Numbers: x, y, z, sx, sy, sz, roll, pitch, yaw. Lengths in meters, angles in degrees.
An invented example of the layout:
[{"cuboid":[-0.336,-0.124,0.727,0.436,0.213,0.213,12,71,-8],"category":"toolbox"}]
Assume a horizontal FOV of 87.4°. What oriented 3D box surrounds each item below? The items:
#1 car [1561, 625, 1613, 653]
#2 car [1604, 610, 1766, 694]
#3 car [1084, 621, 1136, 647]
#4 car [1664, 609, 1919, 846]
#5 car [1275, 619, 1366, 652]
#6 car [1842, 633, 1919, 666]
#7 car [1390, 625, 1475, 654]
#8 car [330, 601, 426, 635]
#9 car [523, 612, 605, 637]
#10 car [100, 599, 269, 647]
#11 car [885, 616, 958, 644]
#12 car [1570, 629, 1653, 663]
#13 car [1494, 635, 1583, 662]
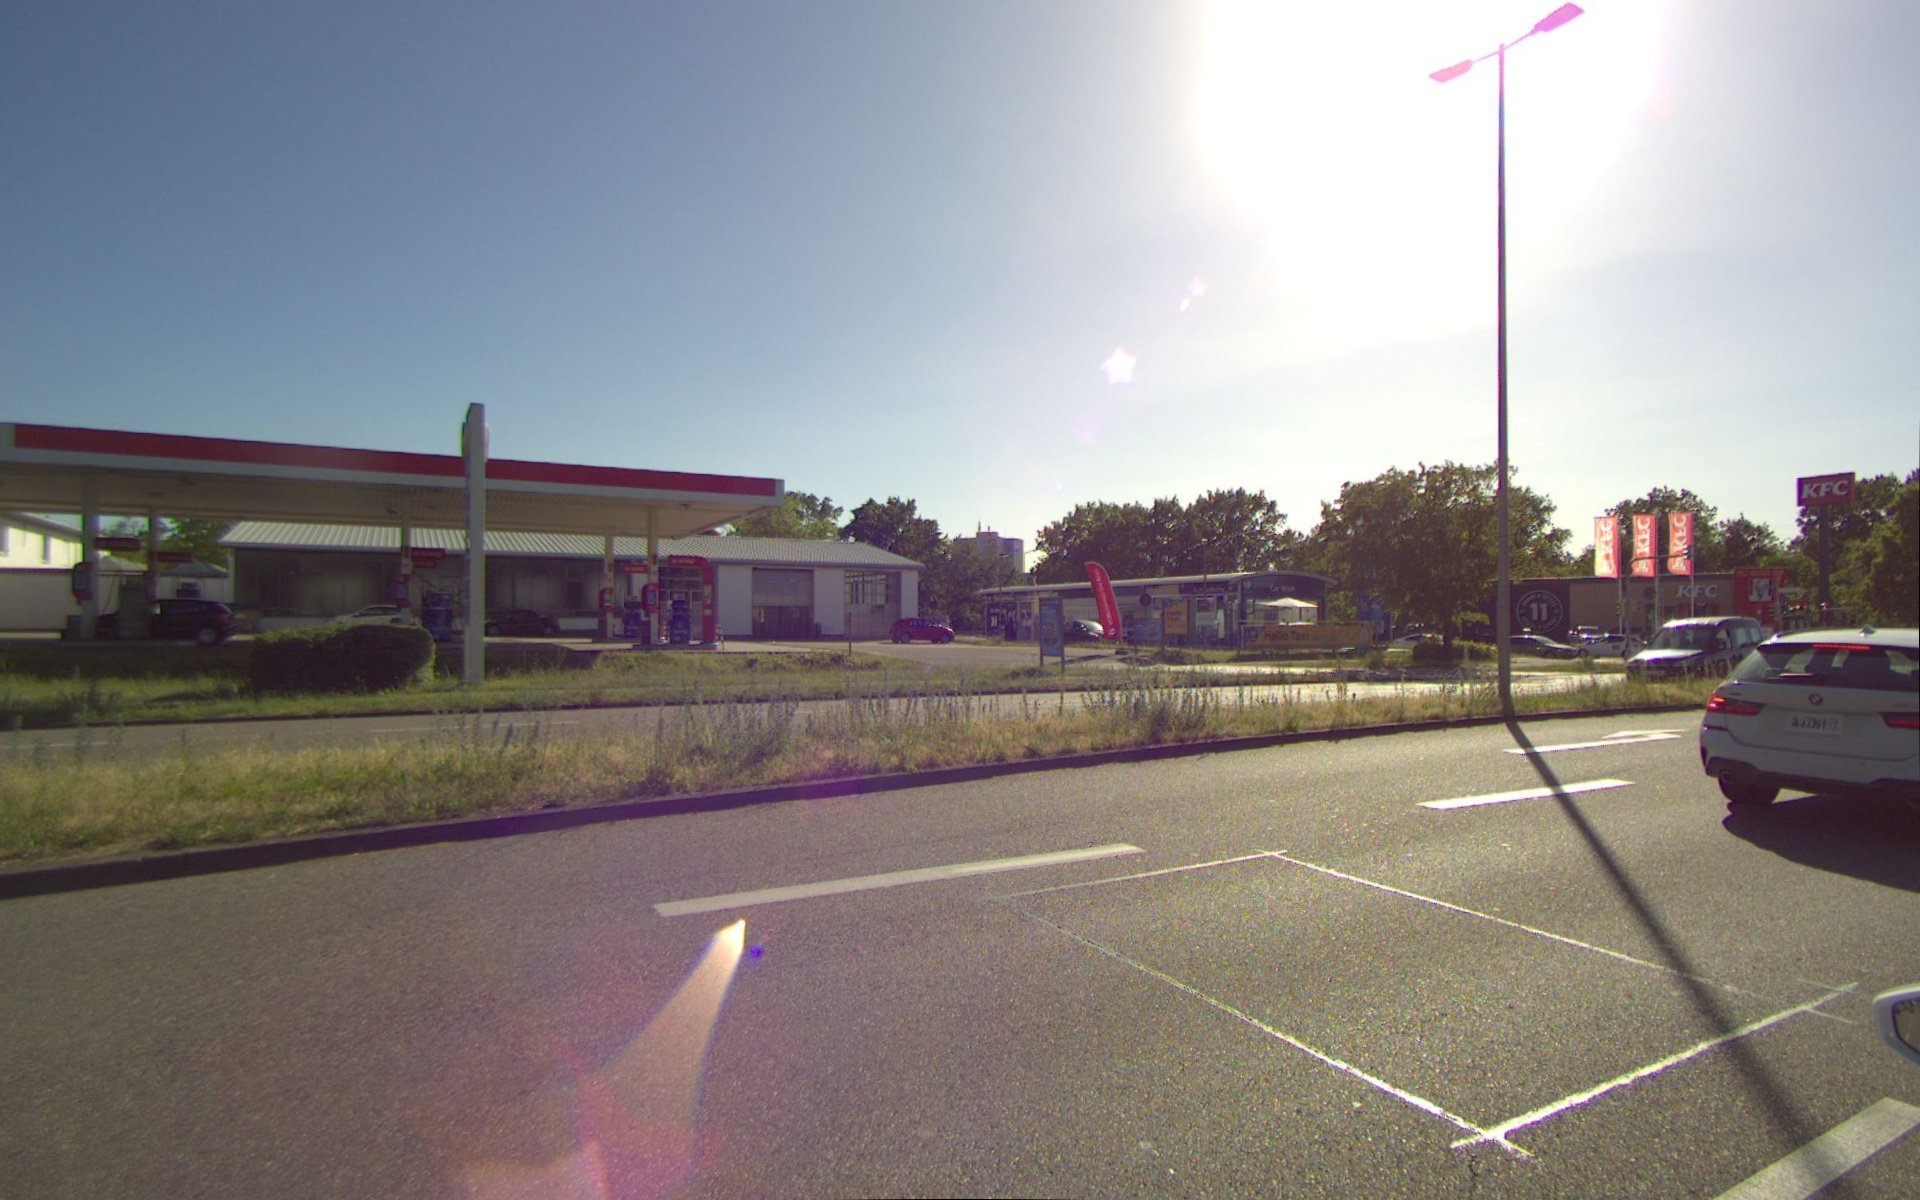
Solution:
[{"cuboid":[44.004,2.700,70.602,1.896,1.763,4.099,2,0,14],"category":"car"},{"cuboid":[17.852,1.249,24.690,4.246,1.872,1.669,2,0,-31],"category":"car"},{"cuboid":[9.203,2.058,61.703,1.516,1.461,3.123,2,0,-31],"category":"car"},{"cuboid":[7.912,0.902,8.197,4.542,1.506,1.803,2,0,-30],"category":"car"},{"cuboid":[17.965,1.769,50.114,3.941,1.461,1.990,2,0,-21],"category":"car"},{"cuboid":[49.310,2.599,52.911,3.696,1.579,2.001,2,0,13],"category":"car"},{"cuboid":[29.934,2.505,63.831,1.914,1.600,4.599,2,0,-31],"category":"car"},{"cuboid":[-27.446,0.859,47.500,3.812,1.509,1.984,2,0,-30],"category":"car"},{"cuboid":[-20.351,1.257,51.645,3.687,1.203,1.667,2,0,-30],"category":"car"},{"cuboid":[-24.313,0.740,31.684,3.953,1.423,1.984,1,-1,-30],"category":"car"},{"cuboid":[-2.242,1.740,58.758,3.948,1.491,1.521,2,0,-24],"category":"car"},{"cuboid":[39.590,2.781,61.088,1.977,1.837,3.742,2,0,-30],"category":"car"},{"cuboid":[33.048,2.755,57.463,1.850,1.268,4.062,2,0,-31],"category":"car"}]
